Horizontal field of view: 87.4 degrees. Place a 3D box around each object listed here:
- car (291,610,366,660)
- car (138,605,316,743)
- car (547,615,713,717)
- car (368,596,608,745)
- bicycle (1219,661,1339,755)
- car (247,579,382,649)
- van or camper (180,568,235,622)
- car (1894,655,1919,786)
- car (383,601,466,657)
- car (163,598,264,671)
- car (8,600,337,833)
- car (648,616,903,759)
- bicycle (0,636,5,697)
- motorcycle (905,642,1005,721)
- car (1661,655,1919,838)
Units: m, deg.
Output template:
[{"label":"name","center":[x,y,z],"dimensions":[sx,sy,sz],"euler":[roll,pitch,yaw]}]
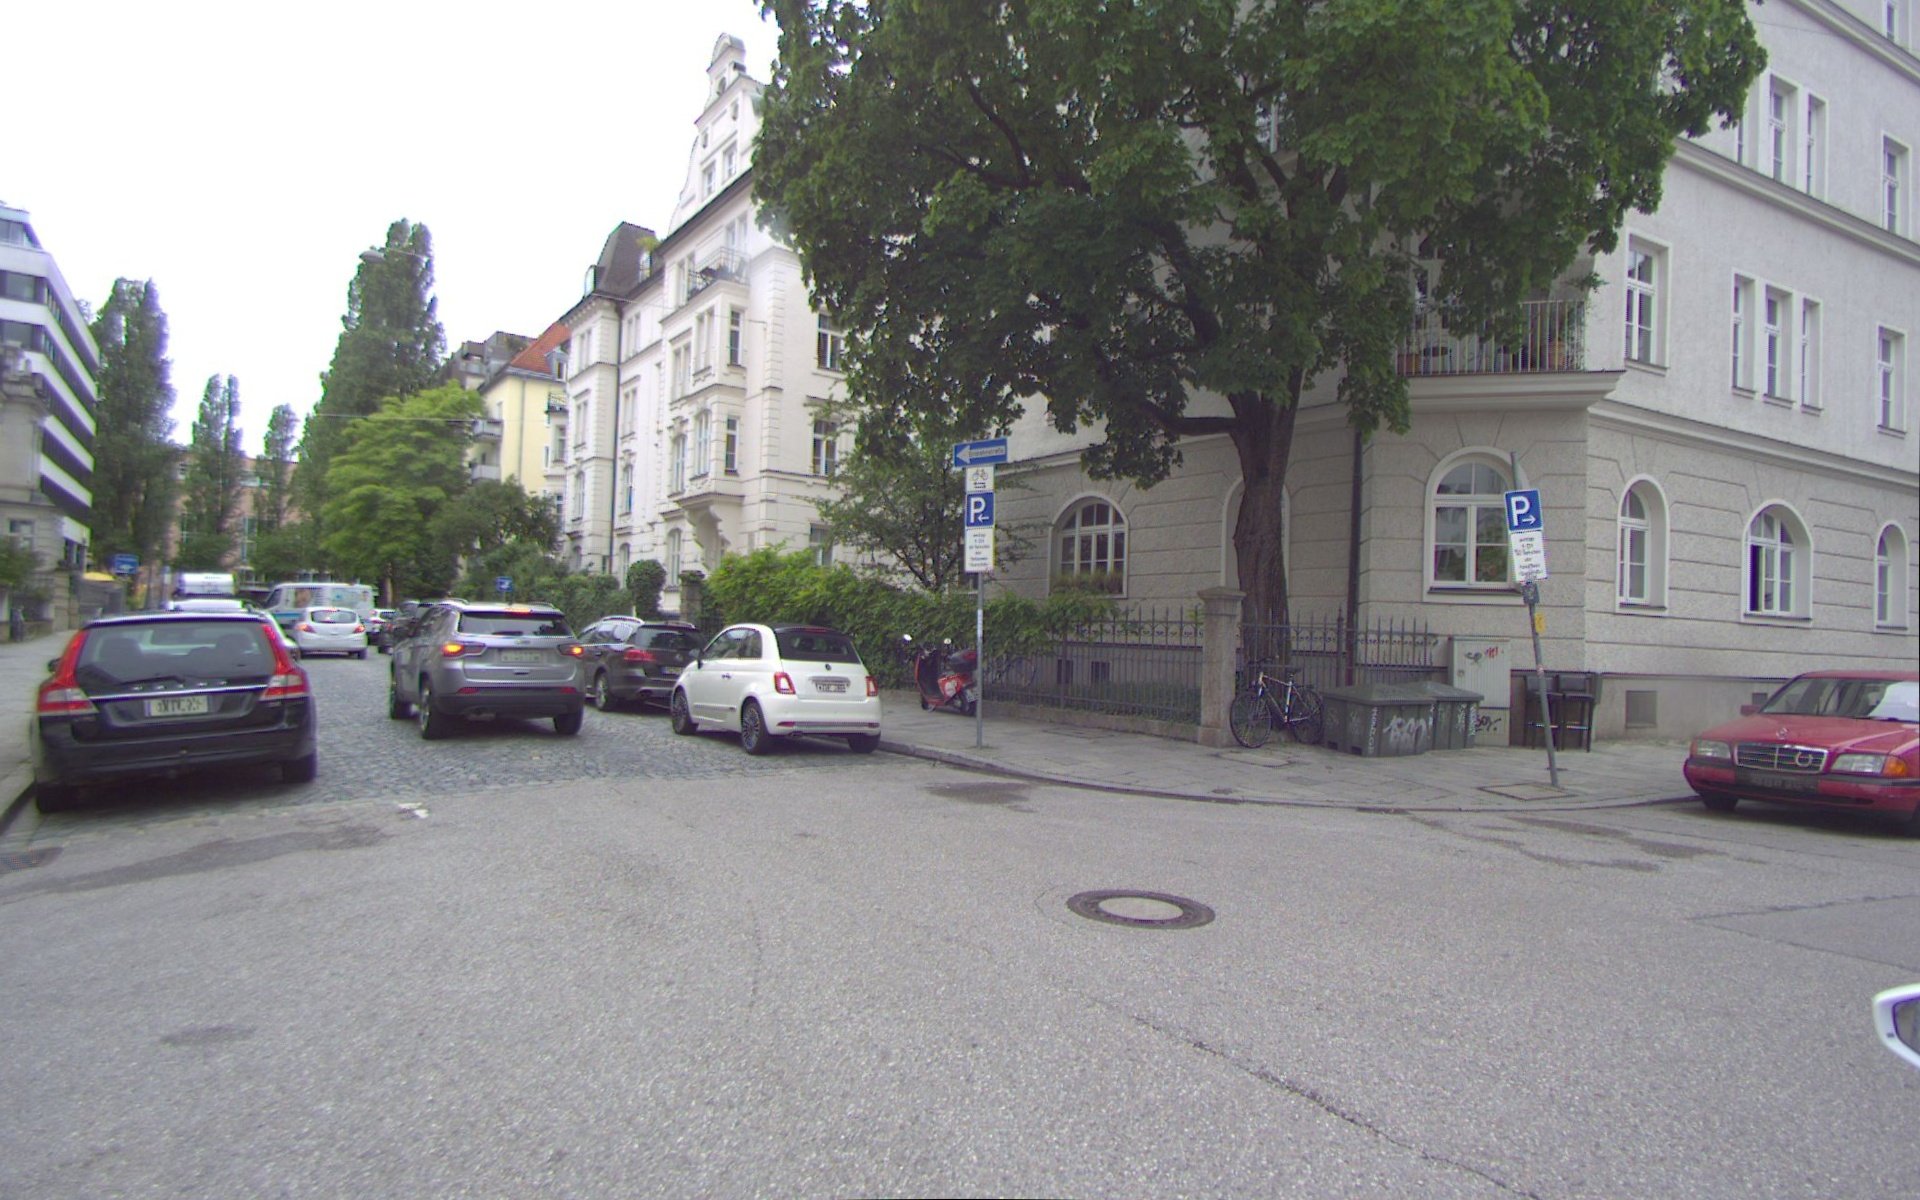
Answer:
[{"label":"car","center":[-18.439,1.001,29.299],"dimensions":[1.591,1.348,2.922],"euler":[3,-2,-37]},{"label":"car","center":[-9.811,0.839,13.336],"dimensions":[1.669,1.528,4.216],"euler":[1,0,-39]},{"label":"car","center":[-5.749,1.051,17.208],"dimensions":[1.636,1.492,3.961],"euler":[3,-2,-34]},{"label":"car","center":[-6.355,0.833,13.257],"dimensions":[1.946,1.629,4.262],"euler":[3,-2,-38]},{"label":"bicycle","center":[4.068,1.335,12.749],"dimensions":[1.809,1.066,0.490],"euler":[1,0,-37]},{"label":"car","center":[-24.894,0.547,38.730],"dimensions":[4.515,2.508,2.162],"euler":[1,-2,24]},{"label":"van or camper","center":[-44.816,-0.259,59.832],"dimensions":[2.407,2.973,5.314],"euler":[3,-2,-37]},{"label":"car","center":[13.195,1.480,12.056],"dimensions":[4.174,1.492,1.982],"euler":[3,-2,-33]},{"label":"car","center":[-17.386,0.917,32.530],"dimensions":[1.693,1.669,3.957],"euler":[3,-2,-37]},{"label":"car","center":[-16.437,0.735,22.179],"dimensions":[1.605,1.461,3.959],"euler":[3,-2,-36]},{"label":"car","center":[-7.067,0.792,9.134],"dimensions":[1.886,1.536,4.300],"euler":[-1,1,-38]},{"label":"car","center":[-2.507,0.997,12.855],"dimensions":[1.669,1.468,3.960],"euler":[3,-2,-35]},{"label":"bicycle","center":[-7.621,0.820,6.724],"dimensions":[0.597,1.184,1.835],"euler":[3,-2,1]},{"label":"motorcycle","center":[-0.116,1.266,16.007],"dimensions":[0.586,1.126,1.971],"euler":[2,-1,-34]},{"label":"car","center":[8.916,1.317,9.867],"dimensions":[4.177,1.396,1.723],"euler":[3,-2,-30]}]
